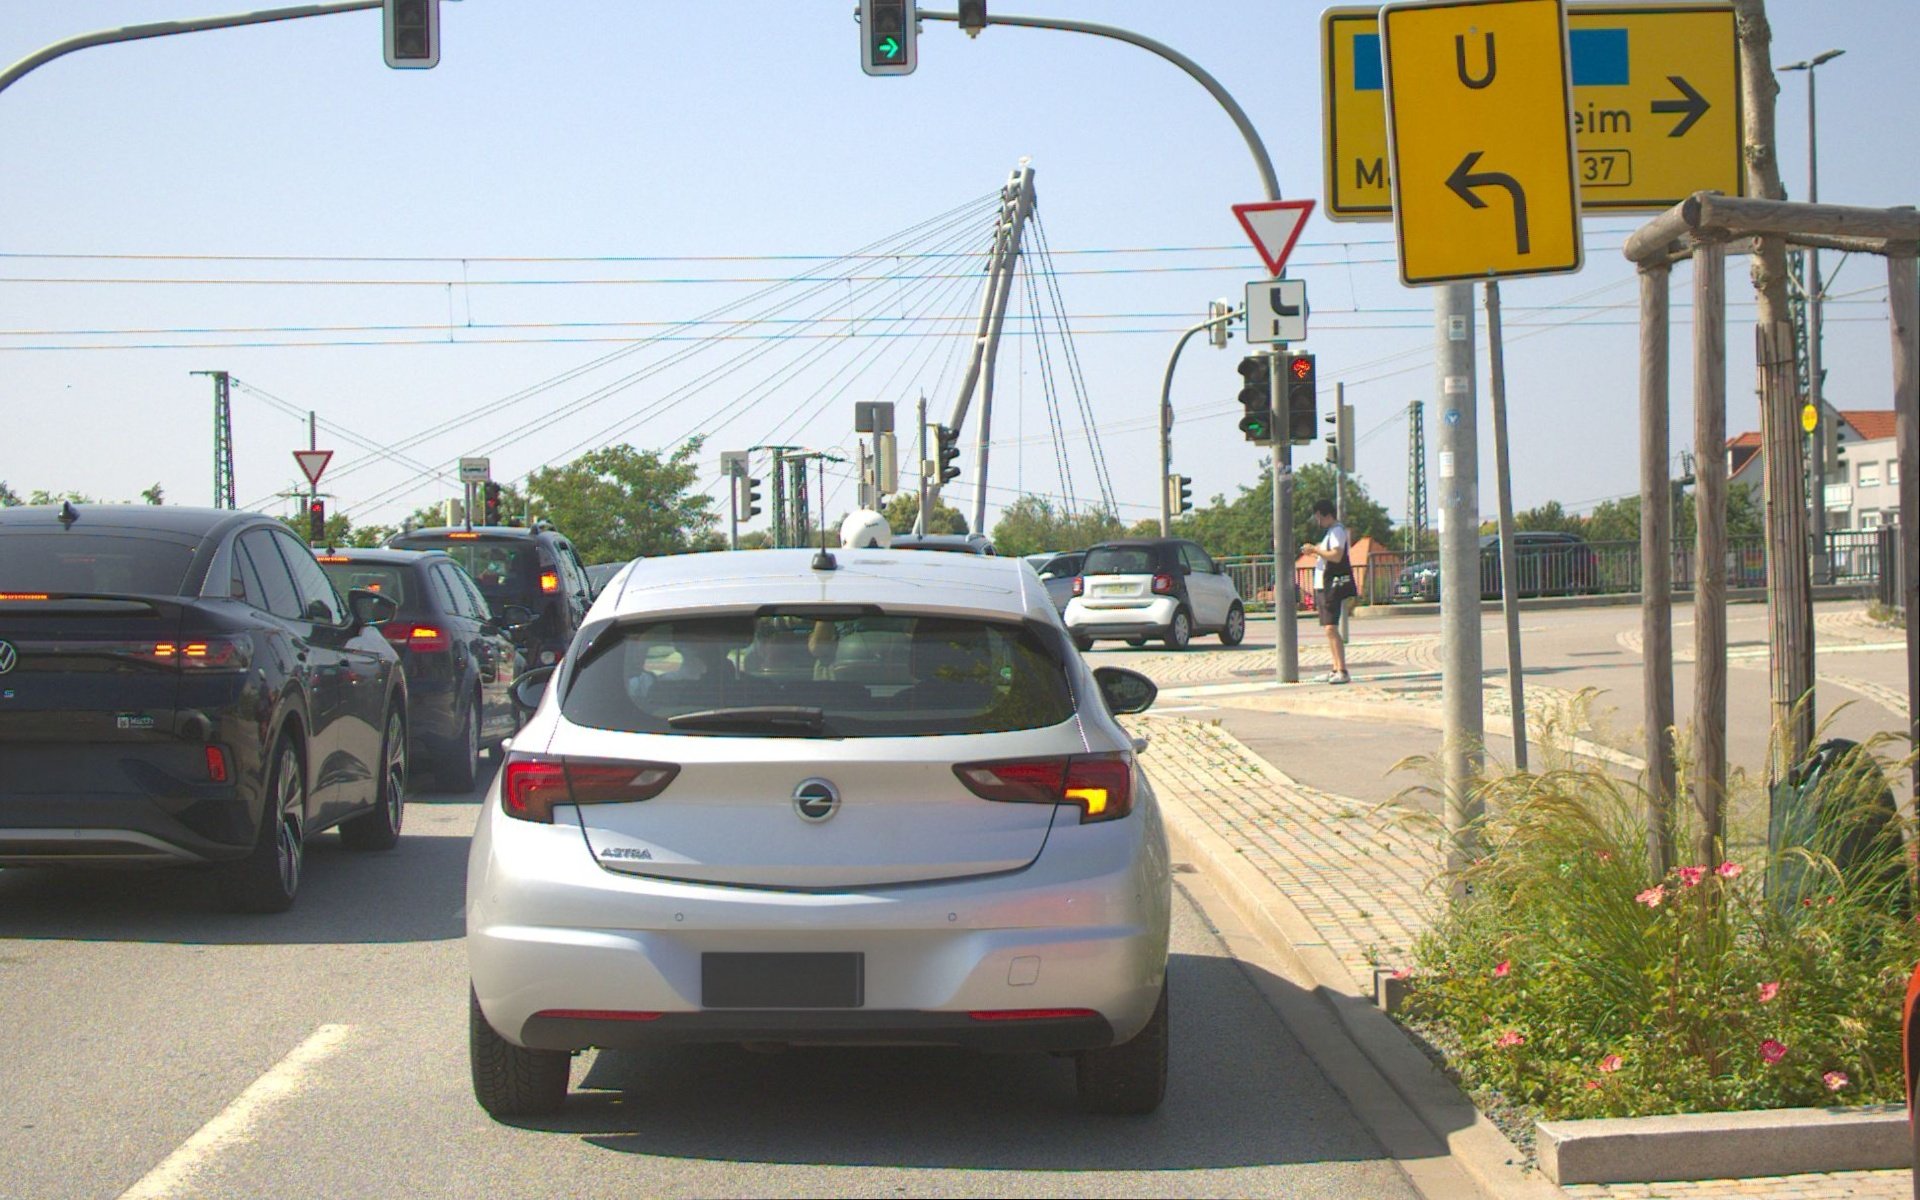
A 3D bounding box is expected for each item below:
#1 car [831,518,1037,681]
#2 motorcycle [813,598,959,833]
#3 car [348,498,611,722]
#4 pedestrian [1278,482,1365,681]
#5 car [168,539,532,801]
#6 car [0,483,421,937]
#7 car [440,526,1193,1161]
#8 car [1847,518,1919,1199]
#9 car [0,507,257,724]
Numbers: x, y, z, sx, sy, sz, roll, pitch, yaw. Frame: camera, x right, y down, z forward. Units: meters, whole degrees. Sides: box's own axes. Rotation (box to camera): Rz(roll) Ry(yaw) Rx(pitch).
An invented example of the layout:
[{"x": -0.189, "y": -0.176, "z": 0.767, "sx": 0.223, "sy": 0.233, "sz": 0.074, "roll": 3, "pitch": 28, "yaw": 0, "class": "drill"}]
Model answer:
[{"x": -0.211, "y": -0.055, "z": 35.824, "sx": 1.724, "sy": 1.558, "sz": 4.000, "roll": 1, "pitch": 2, "yaw": 6, "class": "car"}, {"x": -0.376, "y": 0.523, "z": 16.354, "sx": 0.501, "sy": 1.010, "sz": 2.174, "roll": -4, "pitch": 0, "yaw": -5, "class": "motorcycle"}, {"x": -3.684, "y": 0.049, "z": 26.901, "sx": 1.649, "sy": 1.610, "sz": 3.821, "roll": 1, "pitch": 1, "yaw": -2, "class": "car"}, {"x": 3.422, "y": -0.178, "z": 32.561, "sx": 0.647, "sy": 1.830, "sz": 0.798, "roll": -2, "pitch": 1, "yaw": -2, "class": "pedestrian"}, {"x": -3.598, "y": 0.364, "z": 20.851, "sx": 1.575, "sy": 1.429, "sz": 3.786, "roll": 1, "pitch": 1, "yaw": -1, "class": "car"}, {"x": -3.545, "y": 0.368, "z": 14.648, "sx": 1.801, "sy": 1.636, "sz": 4.366, "roll": 1, "pitch": 1, "yaw": 0, "class": "car"}, {"x": -0.419, "y": 0.549, "z": 10.042, "sx": 1.743, "sy": 1.473, "sz": 4.000, "roll": 1, "pitch": 1, "yaw": -3, "class": "car"}, {"x": 2.497, "y": 0.600, "z": 4.898, "sx": 1.610, "sy": 1.491, "sz": 3.352, "roll": -2, "pitch": 1, "yaw": 1, "class": "car"}, {"x": -6.548, "y": 0.088, "z": 26.548, "sx": 1.597, "sy": 1.542, "sz": 3.763, "roll": 1, "pitch": 1, "yaw": -2, "class": "car"}]
